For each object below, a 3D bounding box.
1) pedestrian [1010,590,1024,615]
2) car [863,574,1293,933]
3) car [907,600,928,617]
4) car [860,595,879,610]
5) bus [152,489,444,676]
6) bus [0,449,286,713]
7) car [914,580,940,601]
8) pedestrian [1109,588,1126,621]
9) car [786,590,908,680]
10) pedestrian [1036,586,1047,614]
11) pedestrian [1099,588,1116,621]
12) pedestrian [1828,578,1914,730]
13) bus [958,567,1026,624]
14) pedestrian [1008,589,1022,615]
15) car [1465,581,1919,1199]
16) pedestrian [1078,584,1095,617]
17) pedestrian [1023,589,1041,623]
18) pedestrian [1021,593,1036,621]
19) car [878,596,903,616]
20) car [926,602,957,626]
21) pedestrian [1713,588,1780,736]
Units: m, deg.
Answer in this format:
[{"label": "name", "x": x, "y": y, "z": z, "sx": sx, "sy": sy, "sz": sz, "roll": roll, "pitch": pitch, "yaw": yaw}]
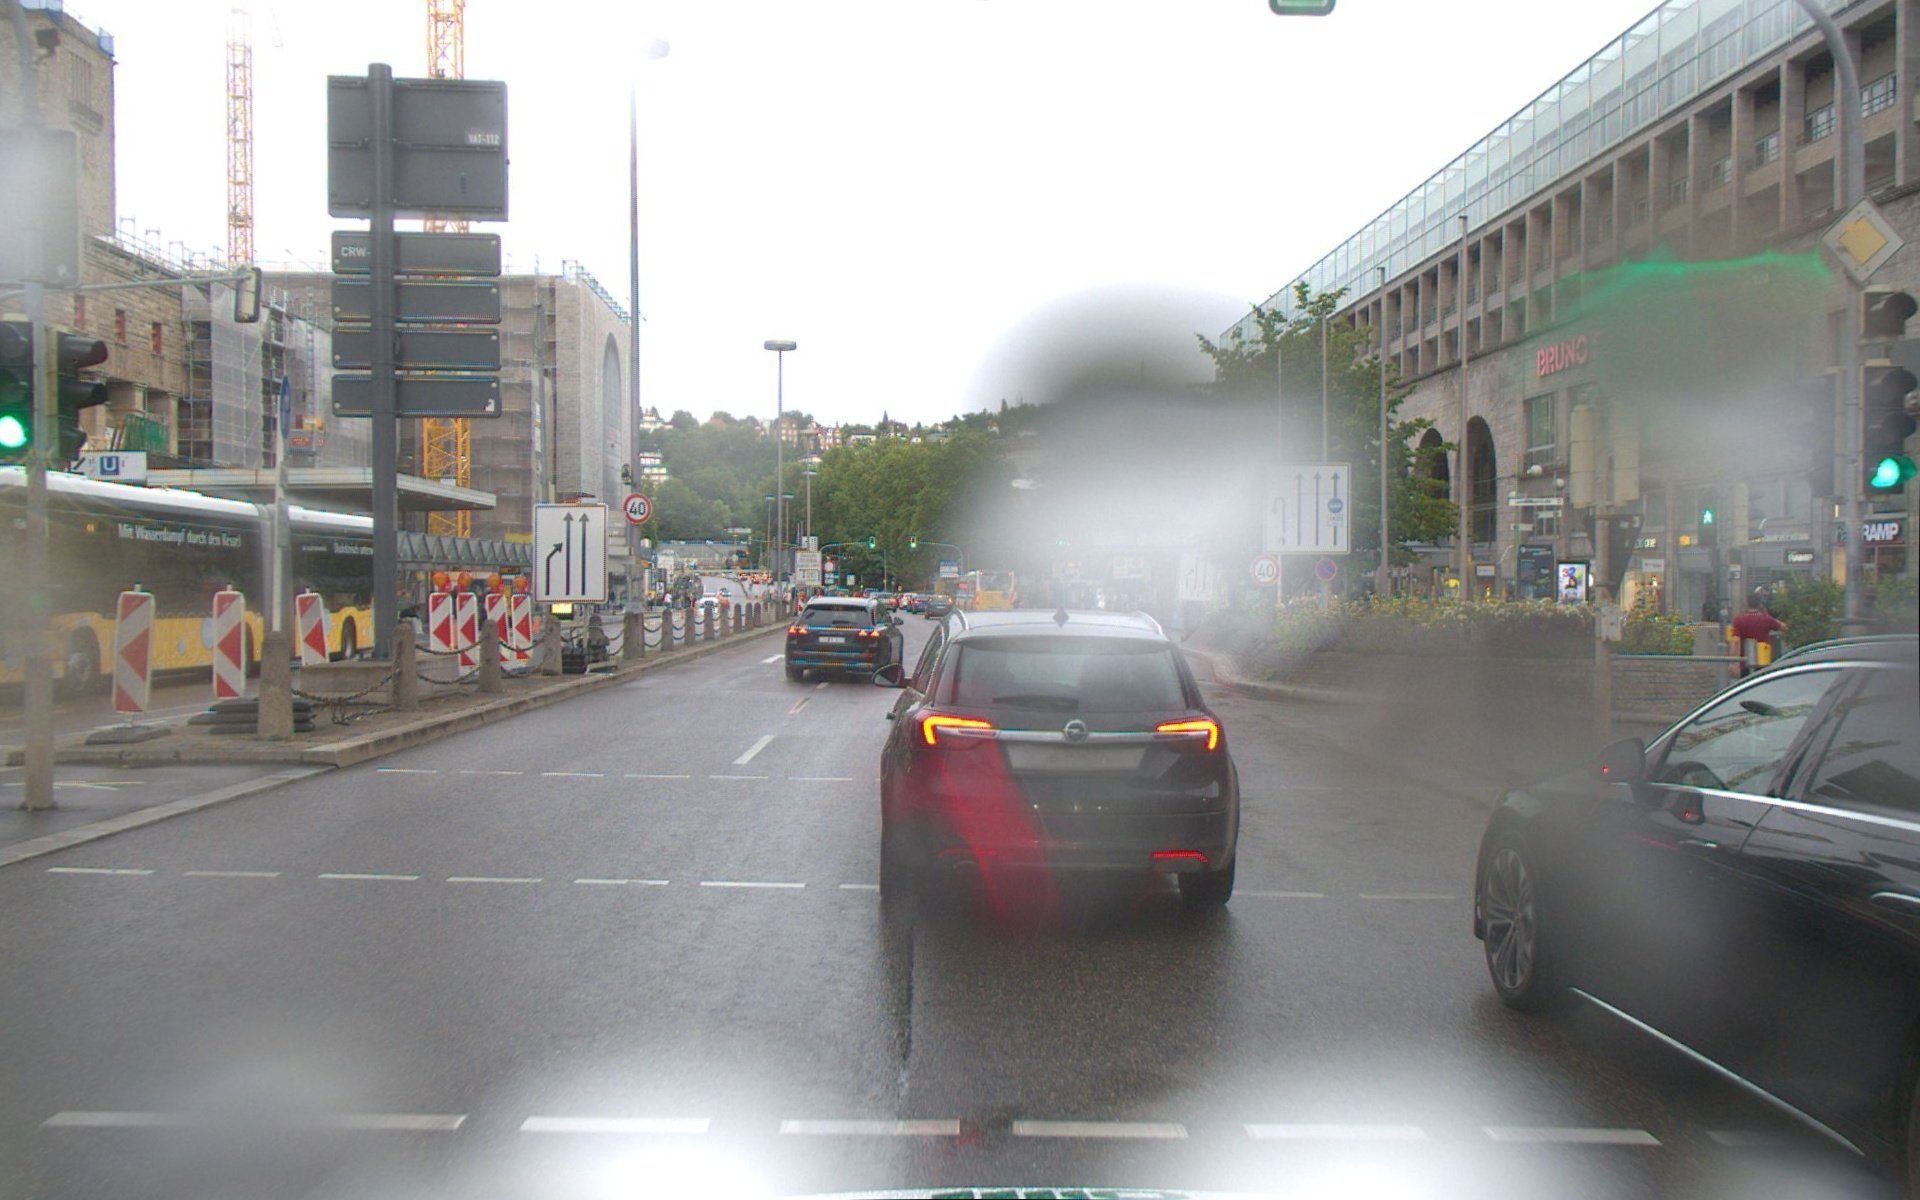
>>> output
[{"label": "pedestrian", "x": 5.148, "y": 0.246, "z": 149.152, "sx": 1.174, "sy": 2.186, "sz": 1.228, "roll": 1, "pitch": -1, "yaw": 0}, {"label": "car", "x": 0.477, "y": 0.691, "z": 9.175, "sx": 1.836, "sy": 1.512, "sz": 3.999, "roll": 1, "pitch": -1, "yaw": -1}, {"label": "car", "x": -3.744, "y": 0.766, "z": 146.455, "sx": 1.808, "sy": 1.422, "sz": 3.563, "roll": 1, "pitch": 0, "yaw": -1}, {"label": "car", "x": -8.798, "y": 0.263, "z": 160.895, "sx": 1.723, "sy": 1.422, "sz": 3.563, "roll": 1, "pitch": -1, "yaw": -1}, {"label": "bus", "x": -14.783, "y": -0.285, "z": 38.053, "sx": 2.614, "sy": 3.665, "sz": 10.209, "roll": 1, "pitch": -1, "yaw": -1}, {"label": "bus", "x": -14.692, "y": -0.230, "z": 27.725, "sx": 2.614, "sy": 3.665, "sz": 10.236, "roll": 1, "pitch": -1, "yaw": -1}, {"label": "car", "x": -2.426, "y": -0.664, "z": 120.914, "sx": 1.718, "sy": 1.422, "sz": 4.645, "roll": 1, "pitch": -1, "yaw": -3}, {"label": "pedestrian", "x": 8.278, "y": 0.257, "z": 87.022, "sx": 0.748, "sy": 1.720, "sz": 0.824, "roll": 1, "pitch": -1, "yaw": -5}, {"label": "car", "x": -1.993, "y": 0.626, "z": 30.474, "sx": 1.817, "sy": 1.495, "sz": 4.587, "roll": 1, "pitch": -1, "yaw": 1}, {"label": "pedestrian", "x": 5.057, "y": 0.009, "z": 102.854, "sx": 0.644, "sy": 1.720, "sz": 0.609, "roll": 1, "pitch": -1, "yaw": 0}, {"label": "pedestrian", "x": 7.867, "y": 0.259, "z": 88.085, "sx": 0.748, "sy": 1.720, "sz": 0.824, "roll": 1, "pitch": -1, "yaw": -5}, {"label": "pedestrian", "x": 10.748, "y": 0.631, "z": 19.517, "sx": 0.740, "sy": 1.748, "sz": 0.466, "roll": 1, "pitch": -1, "yaw": -4}, {"label": "bus", "x": 2.038, "y": -0.177, "z": 113.453, "sx": 4.089, "sy": 3.530, "sz": 14.650, "roll": 1, "pitch": -1, "yaw": -1}, {"label": "pedestrian", "x": 4.788, "y": 0.175, "z": 143.959, "sx": 1.174, "sy": 2.186, "sz": 1.228, "roll": 1, "pitch": -1, "yaw": 0}, {"label": "car", "x": 3.052, "y": 0.753, "z": 4.593, "sx": 1.757, "sy": 1.528, "sz": 4.626, "roll": 1, "pitch": -1, "yaw": -2}, {"label": "pedestrian", "x": 6.643, "y": 0.030, "z": 86.847, "sx": 0.748, "sy": 1.720, "sz": 0.824, "roll": 1, "pitch": -1, "yaw": -5}, {"label": "pedestrian", "x": 5.234, "y": 0.432, "z": 120.245, "sx": 1.174, "sy": 2.478, "sz": 1.228, "roll": 1, "pitch": -1, "yaw": 0}, {"label": "pedestrian", "x": 5.526, "y": 0.572, "z": 133.538, "sx": 1.174, "sy": 2.186, "sz": 1.228, "roll": 1, "pitch": -1, "yaw": 0}, {"label": "car", "x": -5.291, "y": 0.474, "z": 126.284, "sx": 1.808, "sy": 1.422, "sz": 3.563, "roll": 1, "pitch": -1, "yaw": -1}, {"label": "car", "x": -1.107, "y": 0.847, "z": 99.711, "sx": 1.808, "sy": 1.422, "sz": 3.666, "roll": 1, "pitch": -1, "yaw": -1}, {"label": "pedestrian", "x": 9.747, "y": 0.758, "z": 20.495, "sx": 0.560, "sy": 1.783, "sz": 0.676, "roll": 0, "pitch": -1, "yaw": 42}]
